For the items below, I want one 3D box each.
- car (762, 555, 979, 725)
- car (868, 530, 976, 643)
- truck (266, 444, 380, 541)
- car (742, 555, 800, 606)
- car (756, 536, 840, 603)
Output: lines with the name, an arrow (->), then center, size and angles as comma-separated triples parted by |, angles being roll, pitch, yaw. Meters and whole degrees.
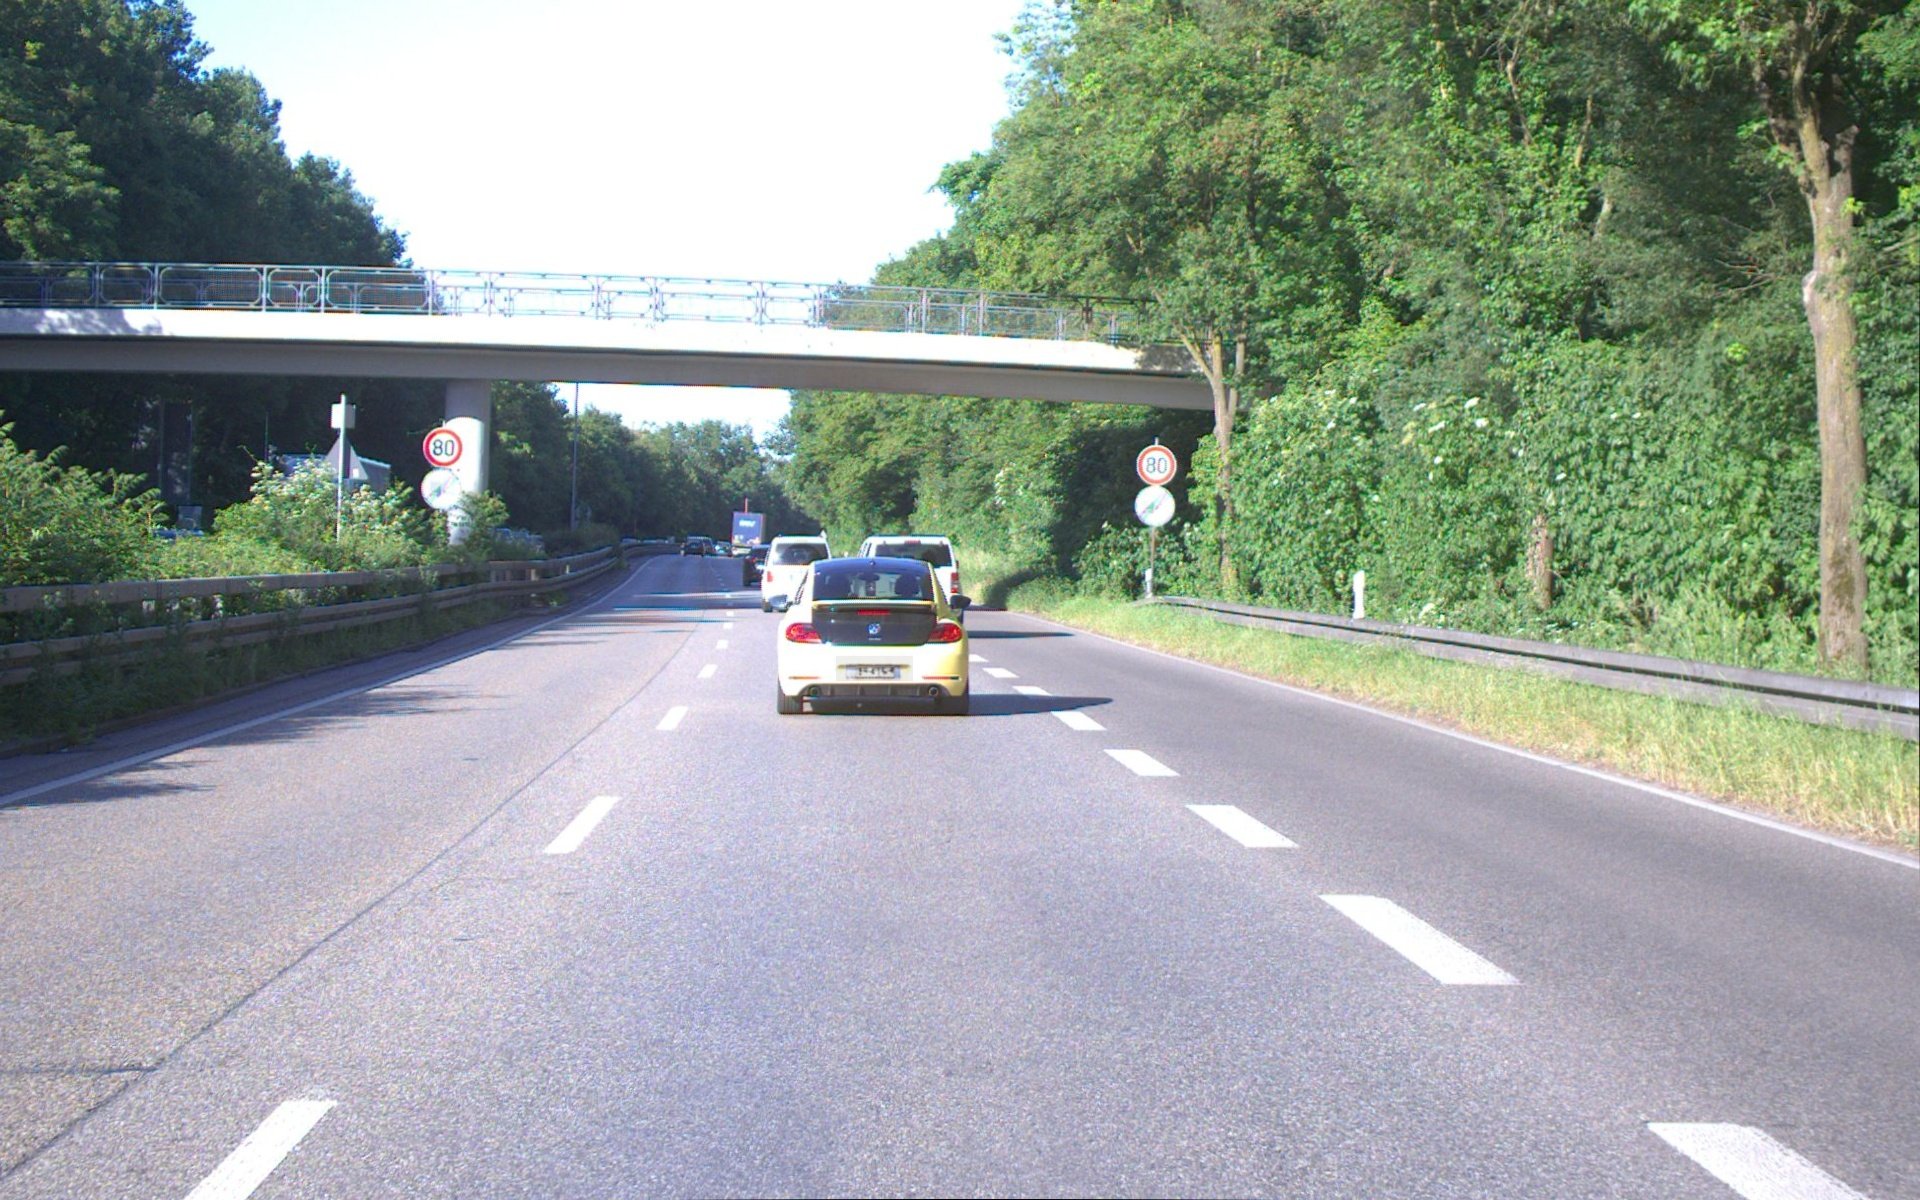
car -> -0.830, 0.344, 32.768 | 1.939, 1.503, 3.422 | 1, 1, -1
car -> -0.671, -0.250, 60.399 | 1.741, 1.823, 3.422 | 4, 0, -1
truck -> -21.925, -3.661, 118.656 | 2.929, 3.157, 7.084 | 1, 1, -3
car -> -6.760, -0.708, 122.726 | 1.993, 1.744, 4.373 | 1, 1, -4
car -> -3.822, -0.732, 81.555 | 1.939, 1.539, 3.423 | 1, 1, -2
